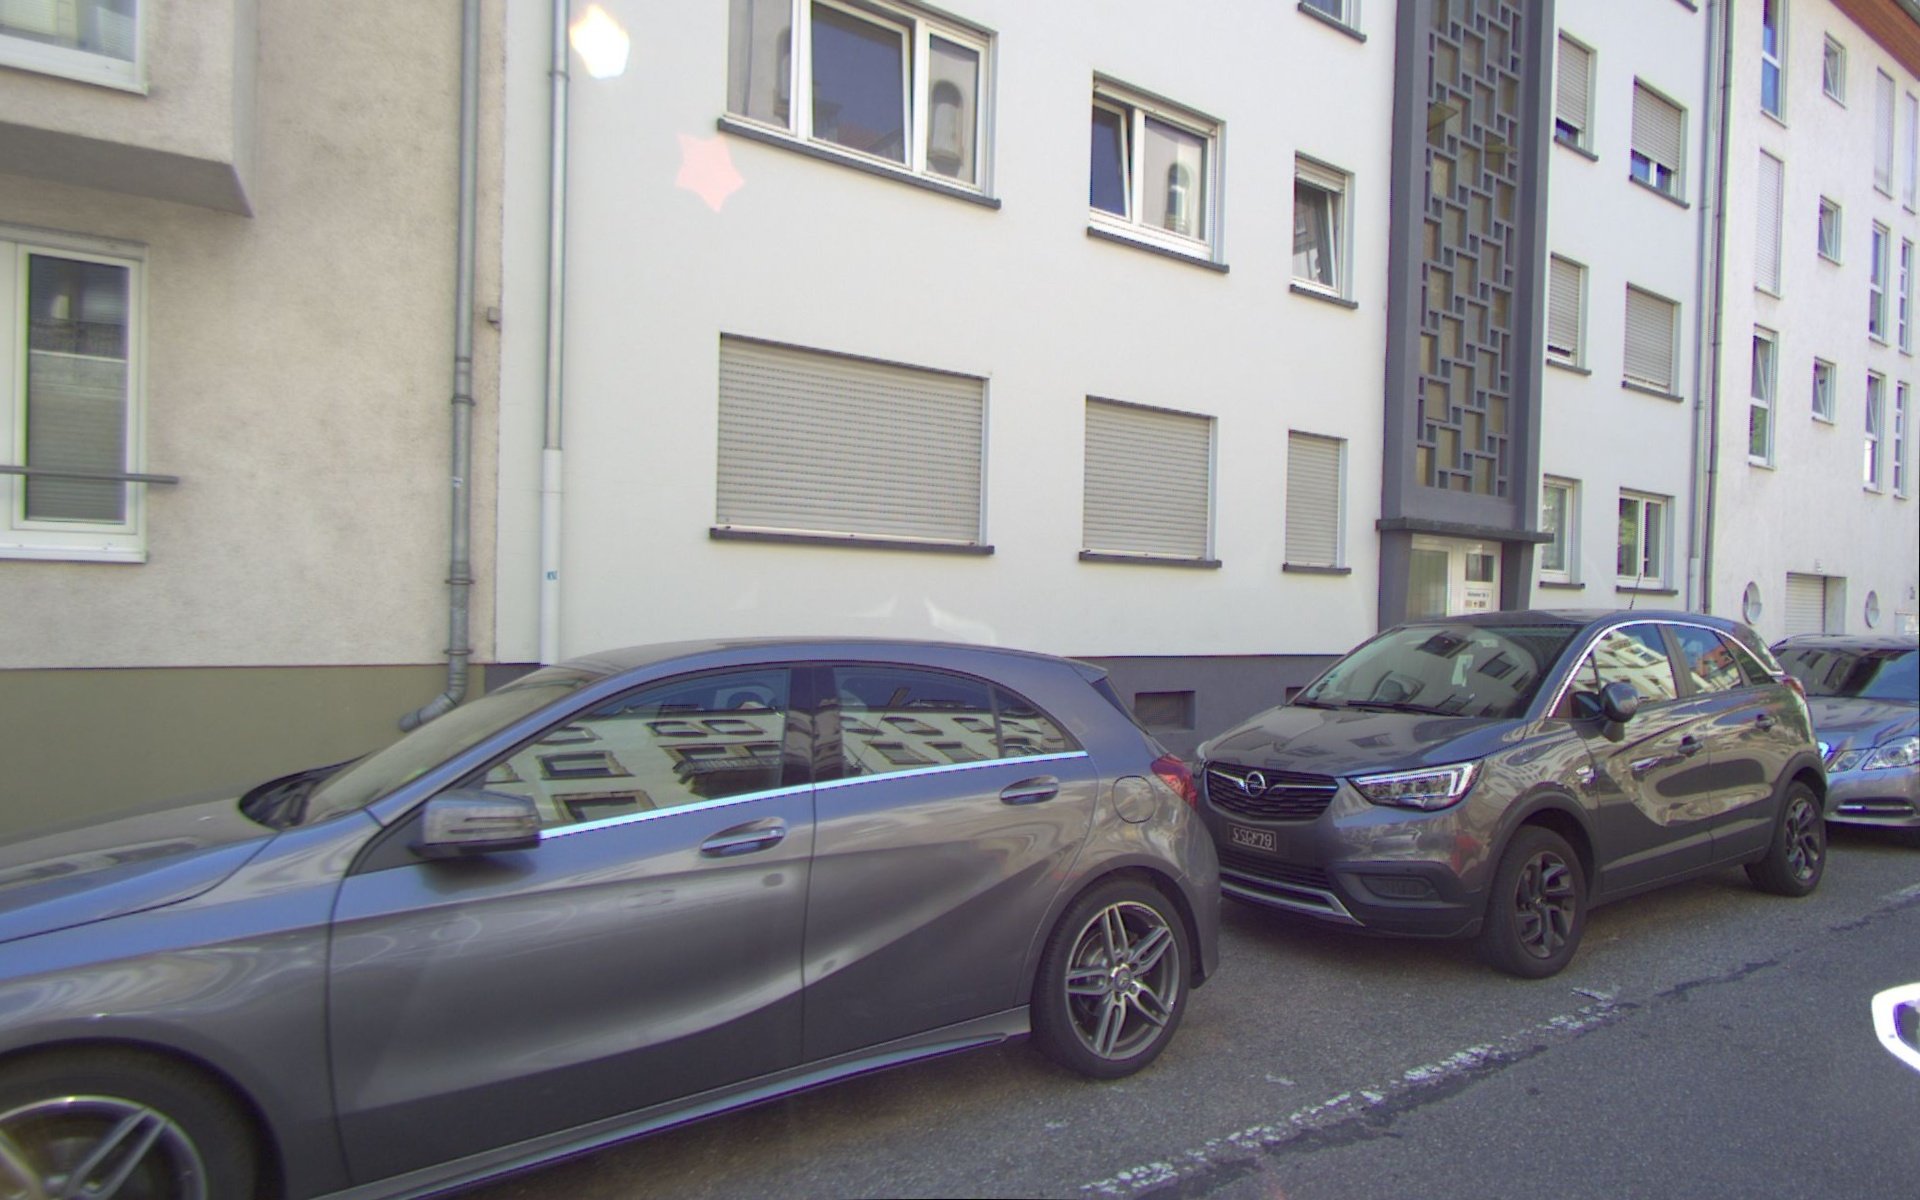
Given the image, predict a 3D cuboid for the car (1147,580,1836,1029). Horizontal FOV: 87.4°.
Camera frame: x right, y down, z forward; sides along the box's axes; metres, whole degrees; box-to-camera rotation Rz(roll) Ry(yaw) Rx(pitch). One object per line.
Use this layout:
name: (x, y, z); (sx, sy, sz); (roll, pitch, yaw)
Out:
car: (3.026, 0.840, 5.487); (3.933, 1.665, 1.595); (2, -3, -32)

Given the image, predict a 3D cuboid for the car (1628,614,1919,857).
car: (7.571, 0.950, 8.330); (4.620, 1.538, 1.647); (2, -3, -32)

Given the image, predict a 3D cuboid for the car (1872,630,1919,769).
car: (12.274, 1.129, 11.640); (3.851, 1.511, 1.559); (2, -3, -32)

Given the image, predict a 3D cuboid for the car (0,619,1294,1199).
car: (-1.053, 0.806, 3.255); (4.301, 1.411, 1.755); (2, -3, -32)
